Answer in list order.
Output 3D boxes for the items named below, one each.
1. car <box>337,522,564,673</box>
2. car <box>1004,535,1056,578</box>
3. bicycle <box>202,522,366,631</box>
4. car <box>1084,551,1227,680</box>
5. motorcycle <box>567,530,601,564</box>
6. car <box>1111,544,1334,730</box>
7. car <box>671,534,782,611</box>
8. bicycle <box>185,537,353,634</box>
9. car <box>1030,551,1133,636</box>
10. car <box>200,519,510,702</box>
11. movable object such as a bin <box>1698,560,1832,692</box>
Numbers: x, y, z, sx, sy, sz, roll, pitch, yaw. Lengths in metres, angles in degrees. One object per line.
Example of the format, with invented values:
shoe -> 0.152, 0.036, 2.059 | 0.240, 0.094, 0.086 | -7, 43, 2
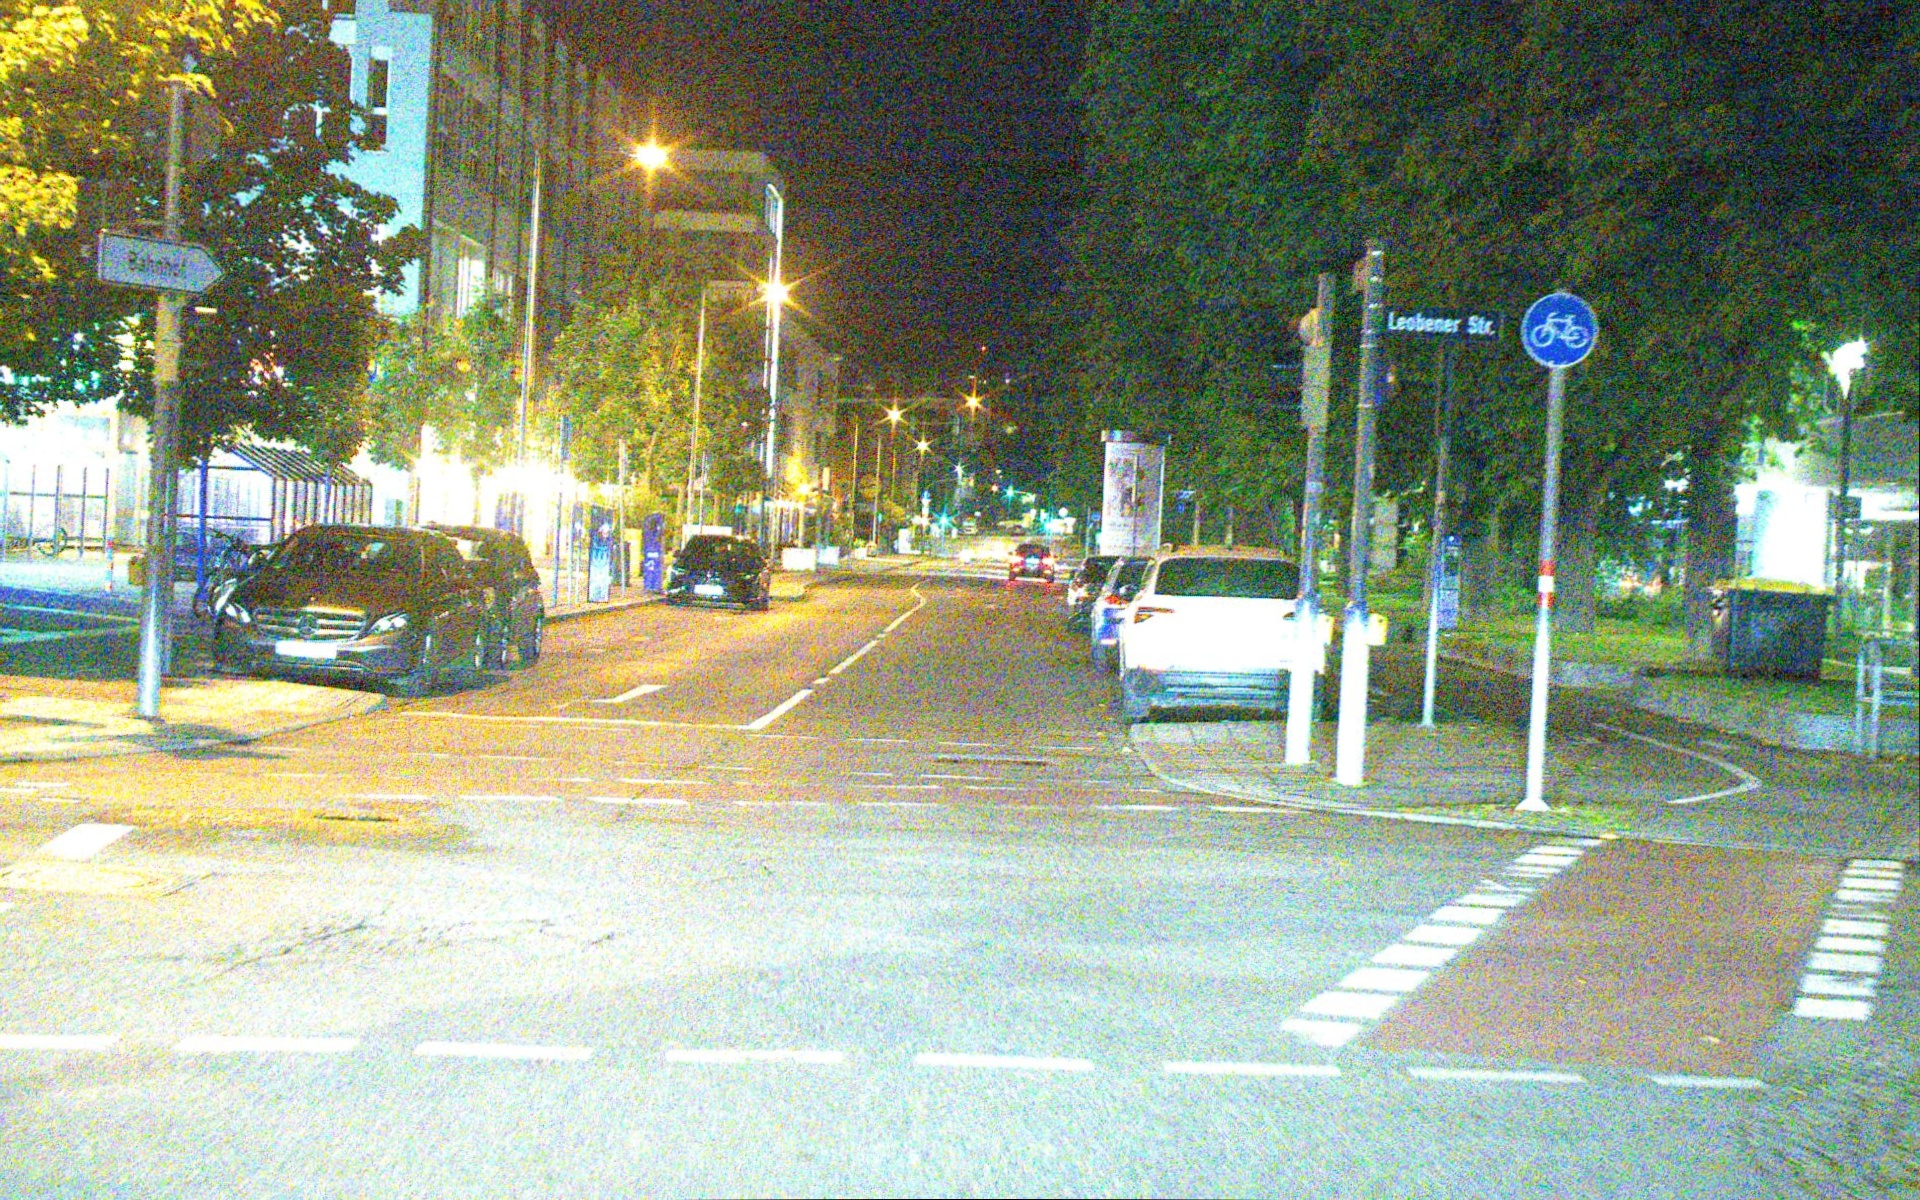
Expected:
car -> -5.501, -0.061, 37.556 | 1.722, 1.423, 3.976 | 5, 1, 1
car -> 2.807, -1.763, 138.089 | 1.993, 1.637, 4.000 | 2, 1, 1
bicycle -> -8.260, -0.287, 42.019 | 1.851, 1.249, 0.533 | 2, 1, 1
car -> 2.498, 0.164, 44.729 | 1.690, 1.531, 4.015 | 2, 1, 1
motorcycle -> -11.586, -1.620, 105.957 | 0.478, 1.017, 1.674 | 3, 1, 11
car -> 2.295, 0.279, 31.017 | 1.770, 1.531, 4.216 | 1, 1, 1
car -> -4.693, -0.581, 69.667 | 1.741, 1.408, 4.495 | 4, 1, 2
bicycle -> -8.310, -0.180, 41.361 | 1.851, 1.031, 0.533 | 4, 1, 1
car -> 2.206, -0.143, 62.960 | 1.764, 1.409, 4.807 | 2, 1, 2
car -> -5.463, 0.042, 31.679 | 1.807, 1.420, 4.921 | 5, 1, 1
movable object such as a bin -> 8.899, 0.279, 38.034 | 1.160, 1.366, 0.993 | 3, 1, 0
